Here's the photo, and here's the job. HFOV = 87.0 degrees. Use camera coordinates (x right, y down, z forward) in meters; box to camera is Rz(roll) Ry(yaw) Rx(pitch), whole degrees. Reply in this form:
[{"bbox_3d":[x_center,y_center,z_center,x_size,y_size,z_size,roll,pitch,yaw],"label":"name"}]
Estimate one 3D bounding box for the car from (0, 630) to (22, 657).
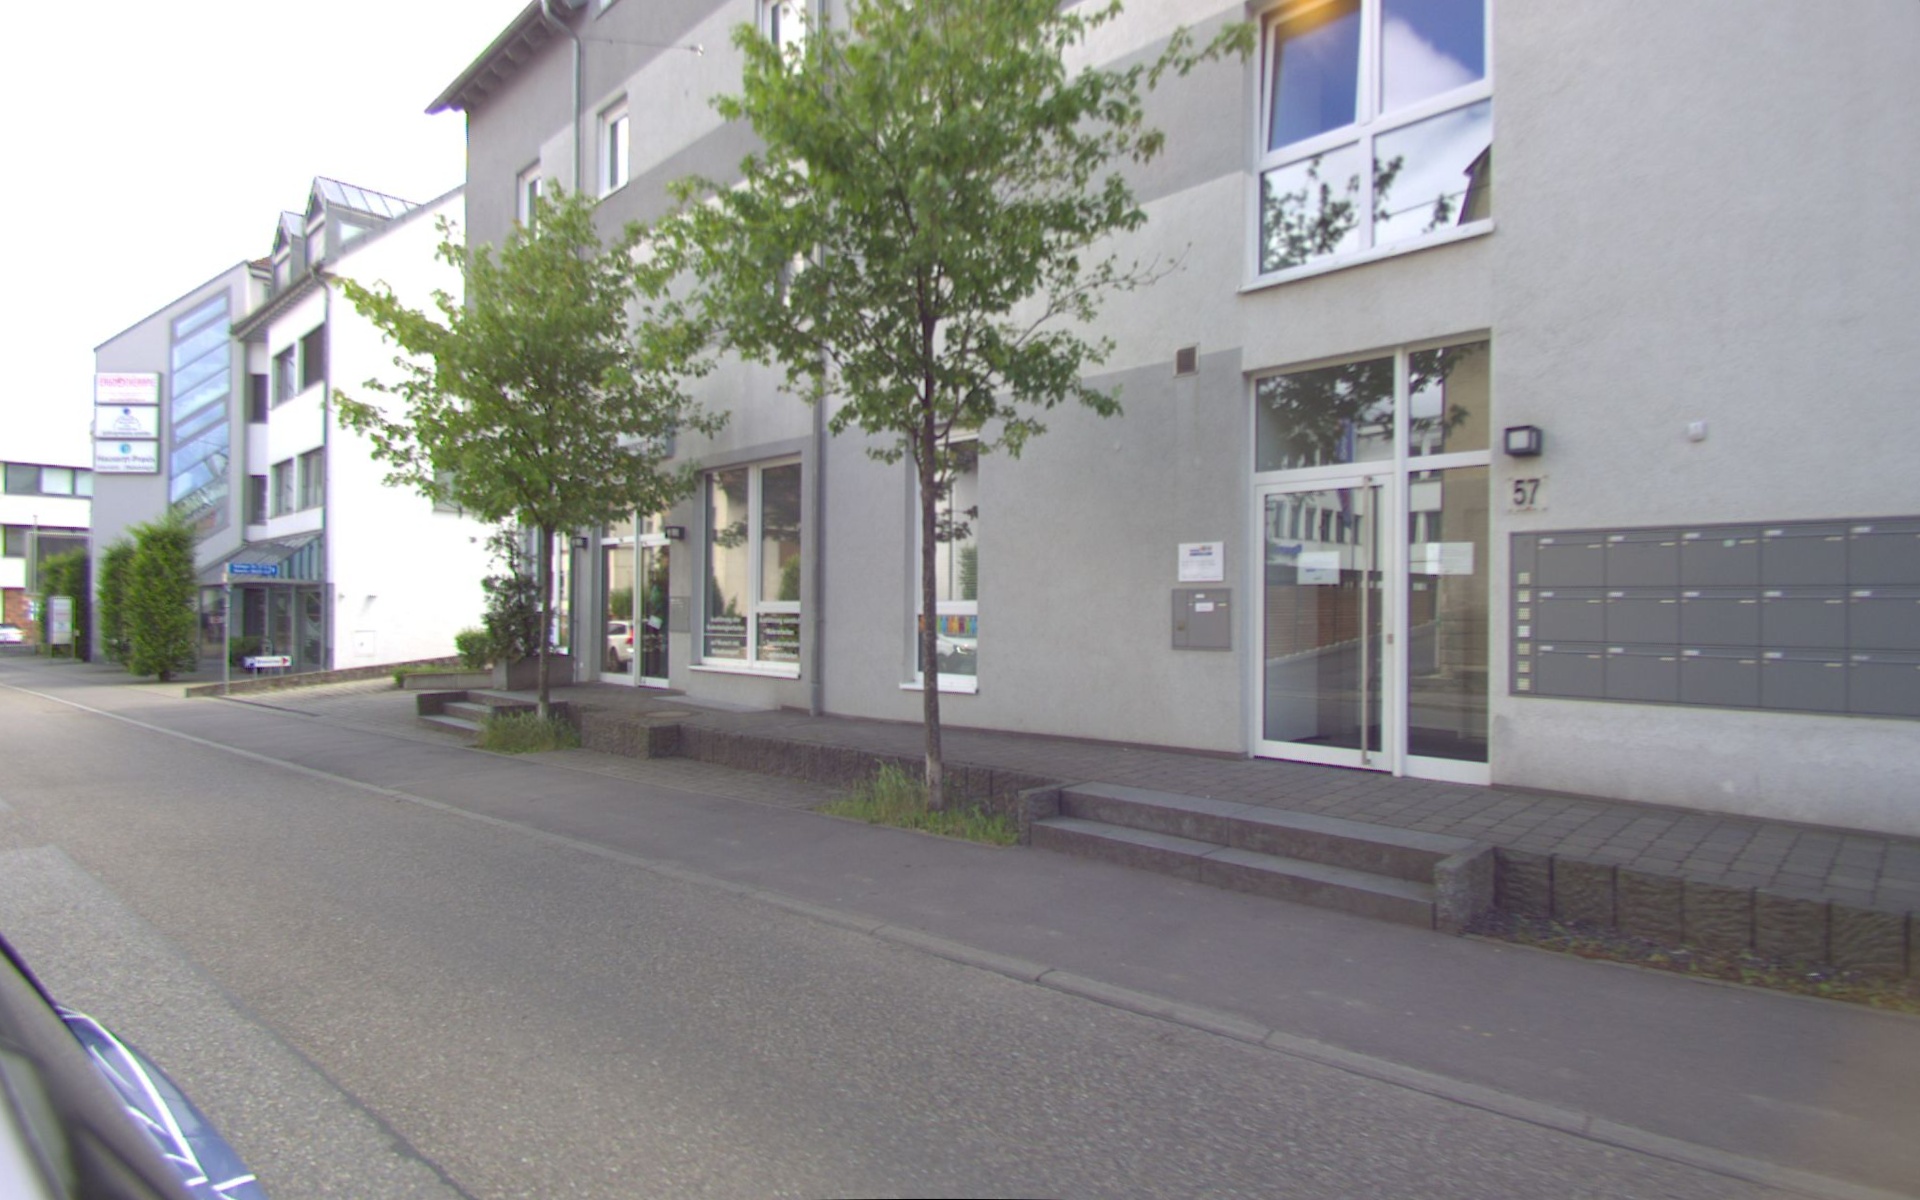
[{"bbox_3d":[-53.111,2.385,55.913,1.799,1.338,4.239,0,-1,-44],"label":"car"}]
